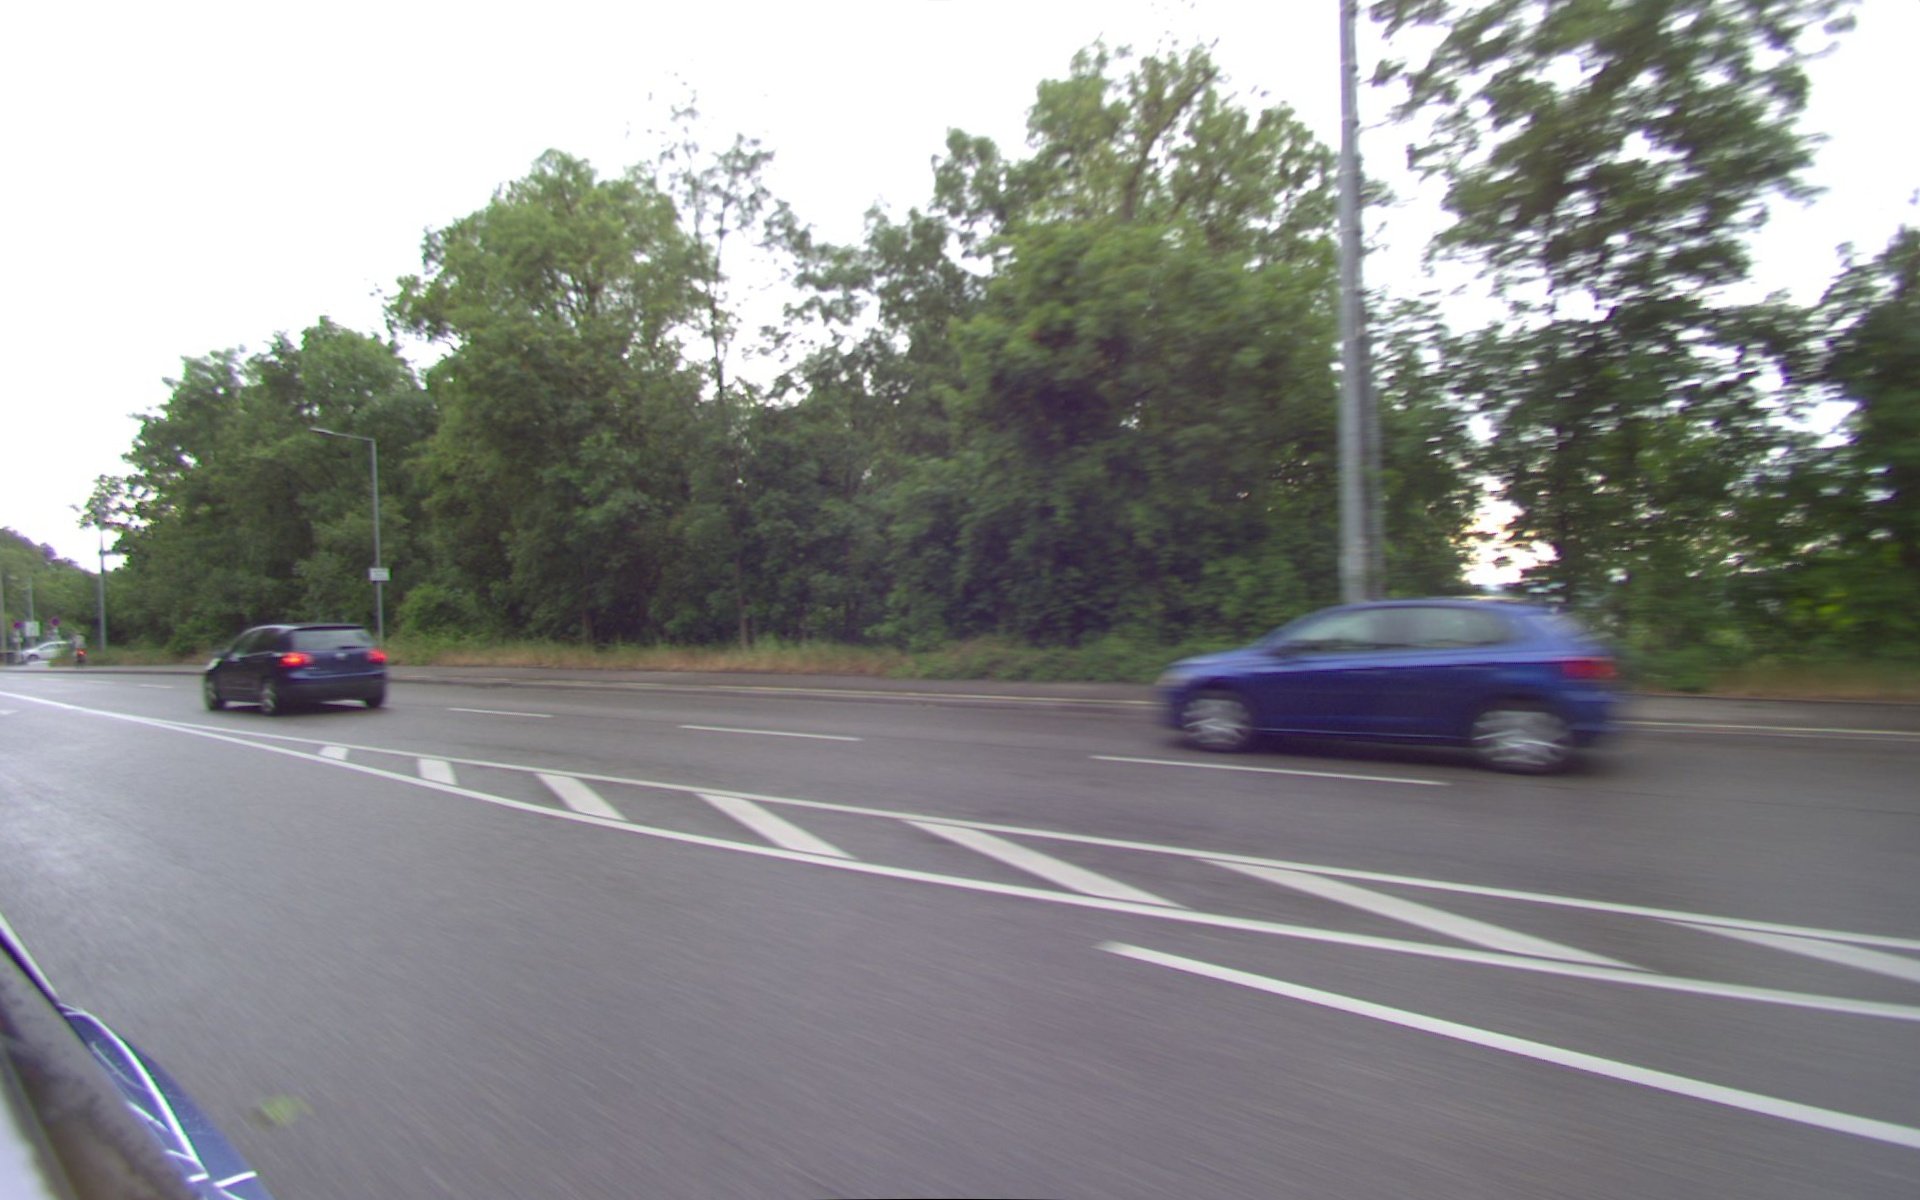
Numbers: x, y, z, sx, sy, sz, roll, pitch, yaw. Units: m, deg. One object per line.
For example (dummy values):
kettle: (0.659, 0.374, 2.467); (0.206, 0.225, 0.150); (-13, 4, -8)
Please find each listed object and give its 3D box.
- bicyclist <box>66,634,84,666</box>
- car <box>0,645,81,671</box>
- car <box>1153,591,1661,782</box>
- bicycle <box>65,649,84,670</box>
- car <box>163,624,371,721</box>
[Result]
bicyclist: (-44.445, 2.524, 50.834); (0.700, 1.598, 0.573); (-2, -3, 41)
car: (-71.762, 4.520, 78.969); (4.687, 1.729, 1.896); (-2, 0, -45)
car: (3.965, 0.677, 9.282); (3.992, 1.405, 1.616); (-2, -1, 36)
bicycle: (-44.466, 2.984, 50.820); (2.016, 1.011, 0.447); (-3, -1, 42)
car: (-12.047, 1.194, 17.523); (4.070, 1.438, 1.686); (-2, 0, 36)
